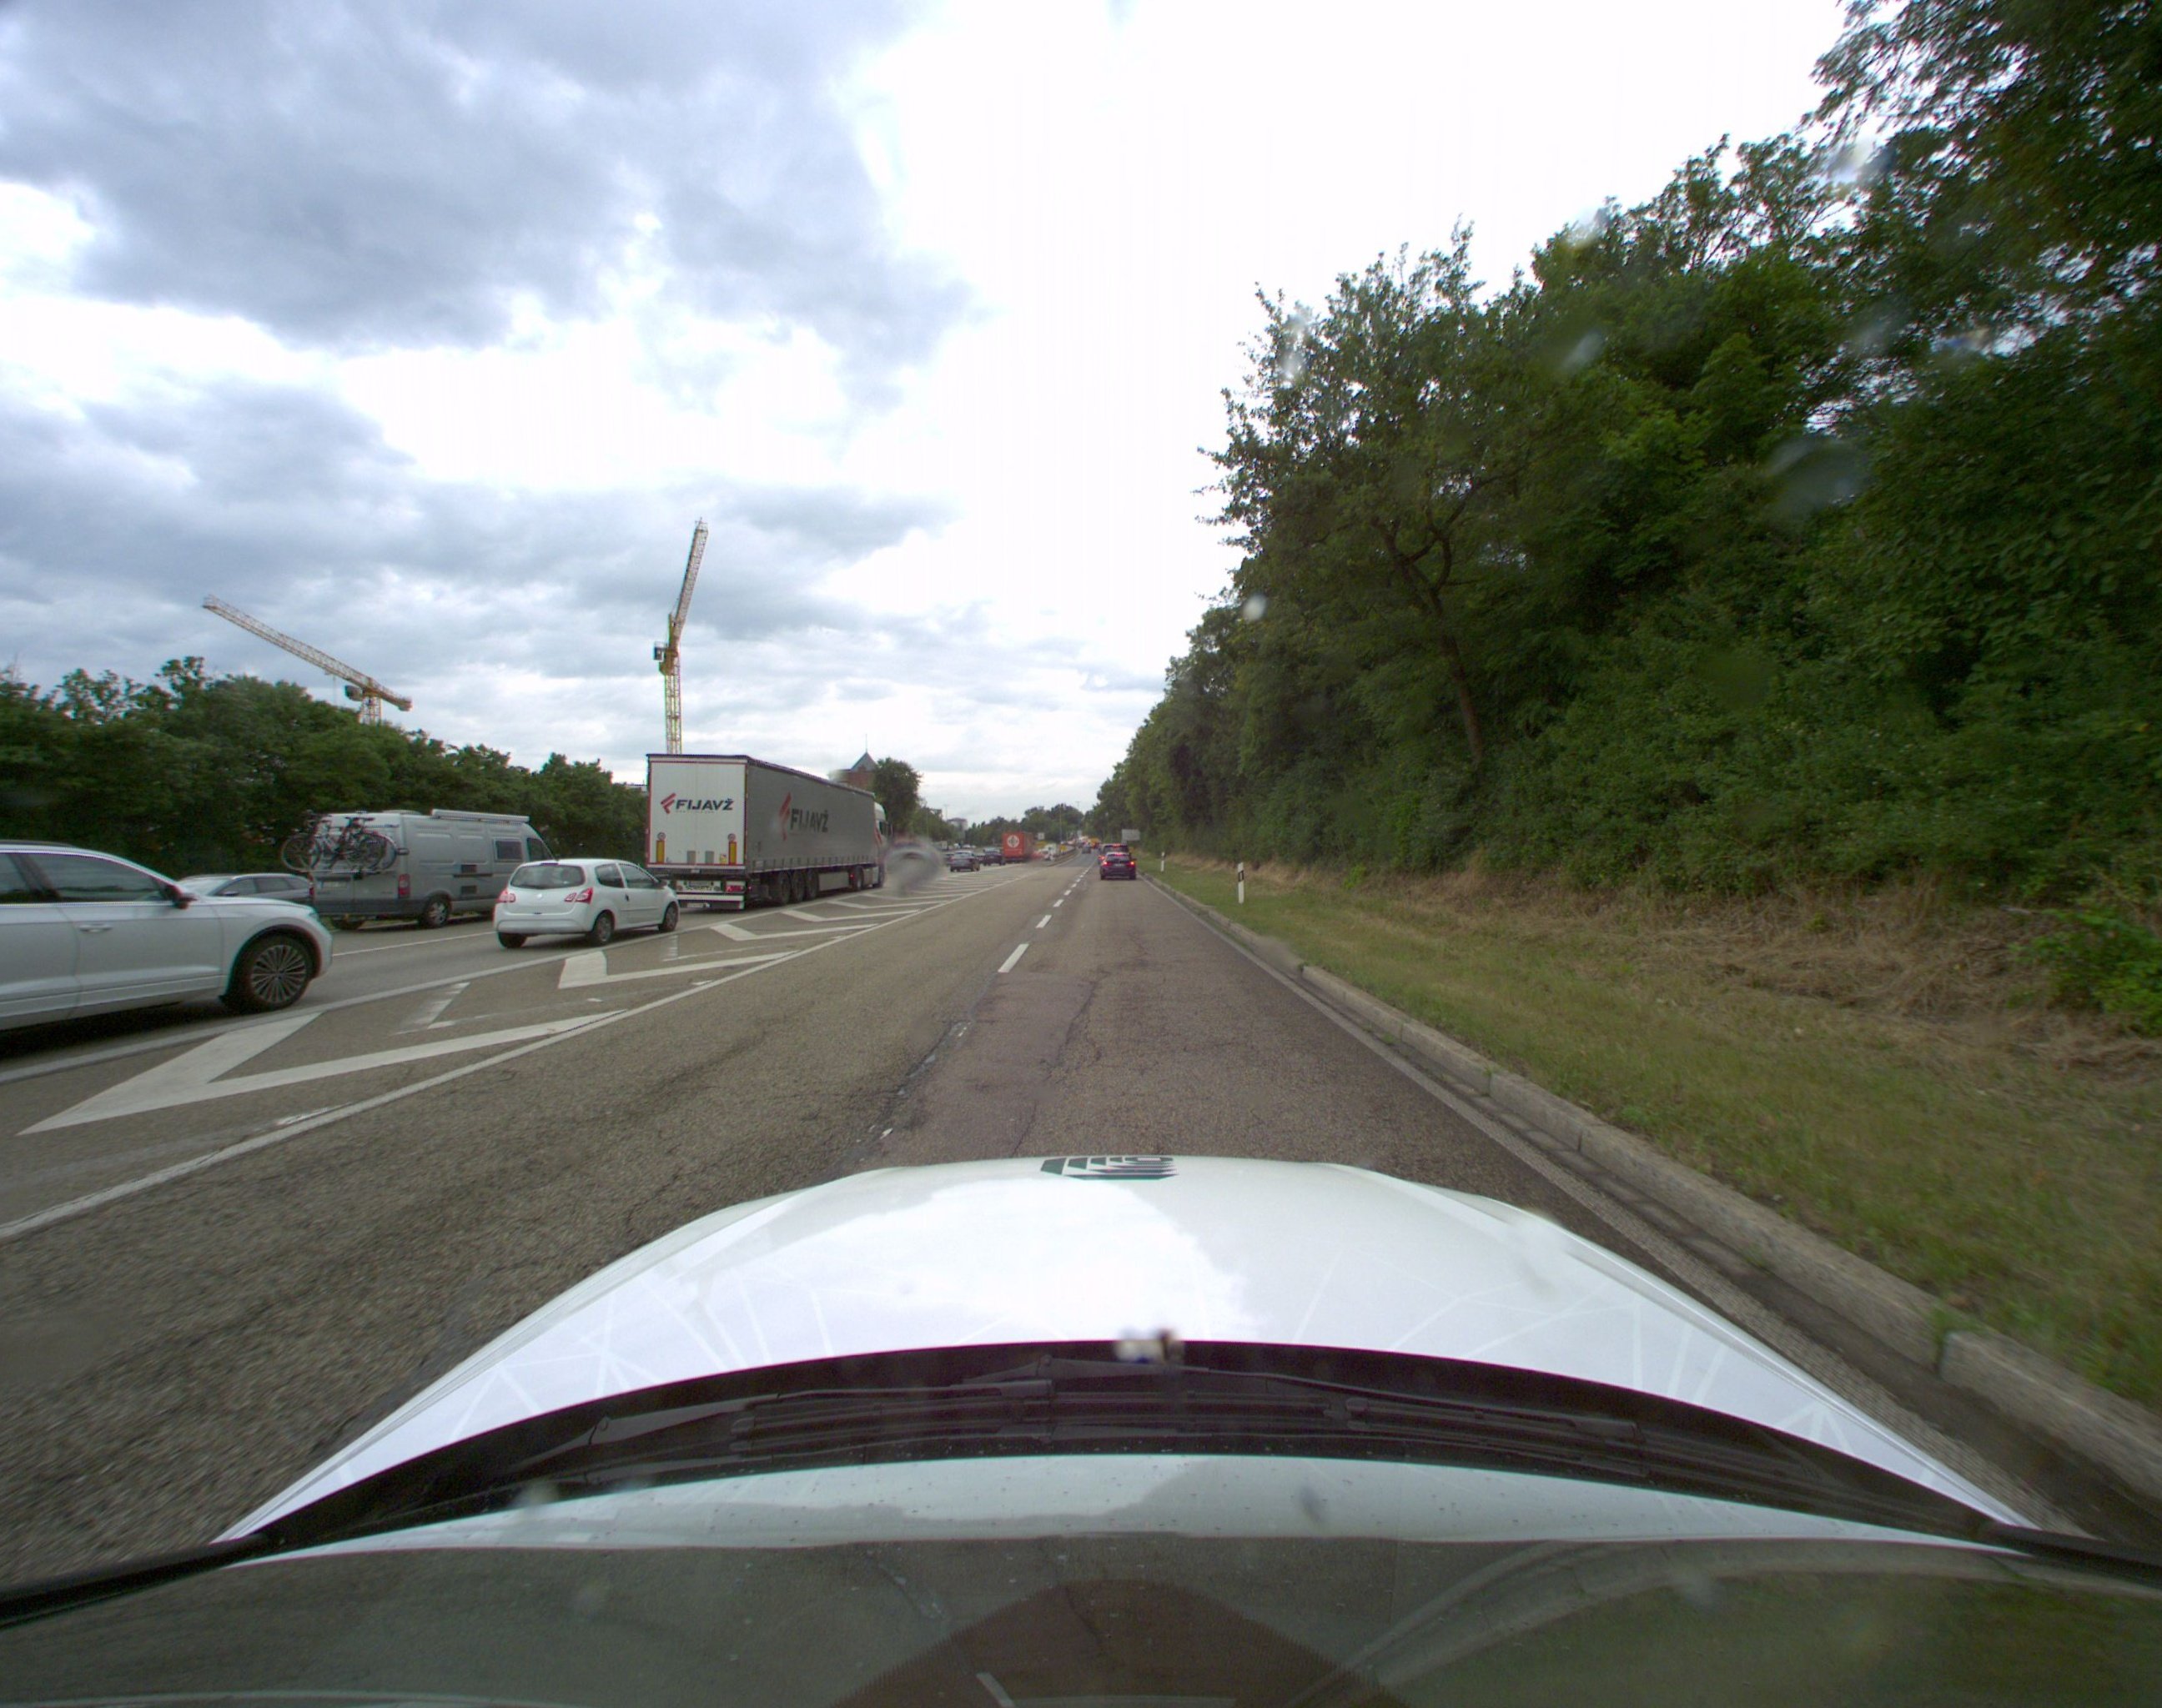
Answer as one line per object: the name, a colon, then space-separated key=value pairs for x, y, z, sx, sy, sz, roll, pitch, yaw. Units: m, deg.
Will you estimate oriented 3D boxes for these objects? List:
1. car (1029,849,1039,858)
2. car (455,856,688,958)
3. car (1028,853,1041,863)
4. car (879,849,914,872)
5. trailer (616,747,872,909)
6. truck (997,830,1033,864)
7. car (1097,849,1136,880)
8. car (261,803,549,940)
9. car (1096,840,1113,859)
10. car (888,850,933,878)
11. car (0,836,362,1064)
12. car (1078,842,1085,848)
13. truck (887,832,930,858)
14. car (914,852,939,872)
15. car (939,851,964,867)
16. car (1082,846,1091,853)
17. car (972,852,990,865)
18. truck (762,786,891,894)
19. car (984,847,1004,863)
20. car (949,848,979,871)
car: x=-8.110 y=-0.090 z=140.751 sx=1.773 sy=1.482 sz=3.996 roll=-2 pitch=0 yaw=-3
car: x=-8.745 y=0.813 z=14.447 sx=1.572 sy=1.490 sz=4.035 roll=-1 pitch=0 yaw=0
car: x=-7.500 y=0.595 z=131.572 sx=1.772 sy=1.482 sz=3.998 roll=-2 pitch=0 yaw=-1
car: x=-13.829 y=0.489 z=61.117 sx=1.712 sy=1.684 sz=3.999 roll=0 pitch=0 yaw=0
trailer: x=-10.028 y=-0.605 z=26.784 sx=3.290 sy=4.036 sz=13.088 roll=0 pitch=0 yaw=-2
truck: x=-8.515 y=-0.927 z=107.319 sx=3.478 sy=4.073 sz=13.590 roll=-2 pitch=0 yaw=0
car: x=1.821 y=0.529 z=42.692 sx=1.819 sy=1.482 sz=4.000 roll=-2 pitch=0 yaw=0
car: x=-14.621 y=0.318 z=18.188 sx=1.988 sy=2.553 sz=5.359 roll=-1 pitch=0 yaw=-1
car: x=2.466 y=-0.465 z=86.992 sx=1.600 sy=2.013 sz=3.998 roll=-1 pitch=0 yaw=-1
car: x=-10.185 y=0.573 z=48.935 sx=1.794 sy=1.604 sz=4.257 roll=0 pitch=0 yaw=0
car: x=-8.866 y=0.715 z=6.334 sx=1.906 sy=1.660 sz=5.375 roll=-1 pitch=0 yaw=-3
car: x=0.245 y=-2.559 z=233.083 sx=1.804 sy=1.711 sz=4.002 roll=-1 pitch=0 yaw=2
truck: x=-24.378 y=-1.232 z=115.578 sx=3.582 sy=3.508 sz=10.564 roll=0 pitch=0 yaw=2
car: x=-14.105 y=0.670 z=74.534 sx=1.510 sy=1.728 sz=3.999 roll=-1 pitch=0 yaw=0
car: x=-13.519 y=0.486 z=85.255 sx=1.853 sy=1.618 sz=4.000 roll=0 pitch=0 yaw=1
car: x=1.140 y=-0.914 z=164.277 sx=1.820 sy=1.482 sz=3.999 roll=-1 pitch=0 yaw=-1
car: x=-12.895 y=0.622 z=105.218 sx=1.853 sy=1.618 sz=4.000 roll=0 pitch=0 yaw=1
truck: x=-10.151 y=-0.491 z=33.404 sx=3.190 sy=3.947 sz=7.069 roll=0 pitch=0 yaw=-1
car: x=-9.360 y=0.143 z=87.832 sx=1.712 sy=1.684 sz=3.999 roll=0 pitch=0 yaw=0
car: x=-8.947 y=0.409 z=62.597 sx=1.712 sy=1.684 sz=3.999 roll=0 pitch=0 yaw=0
